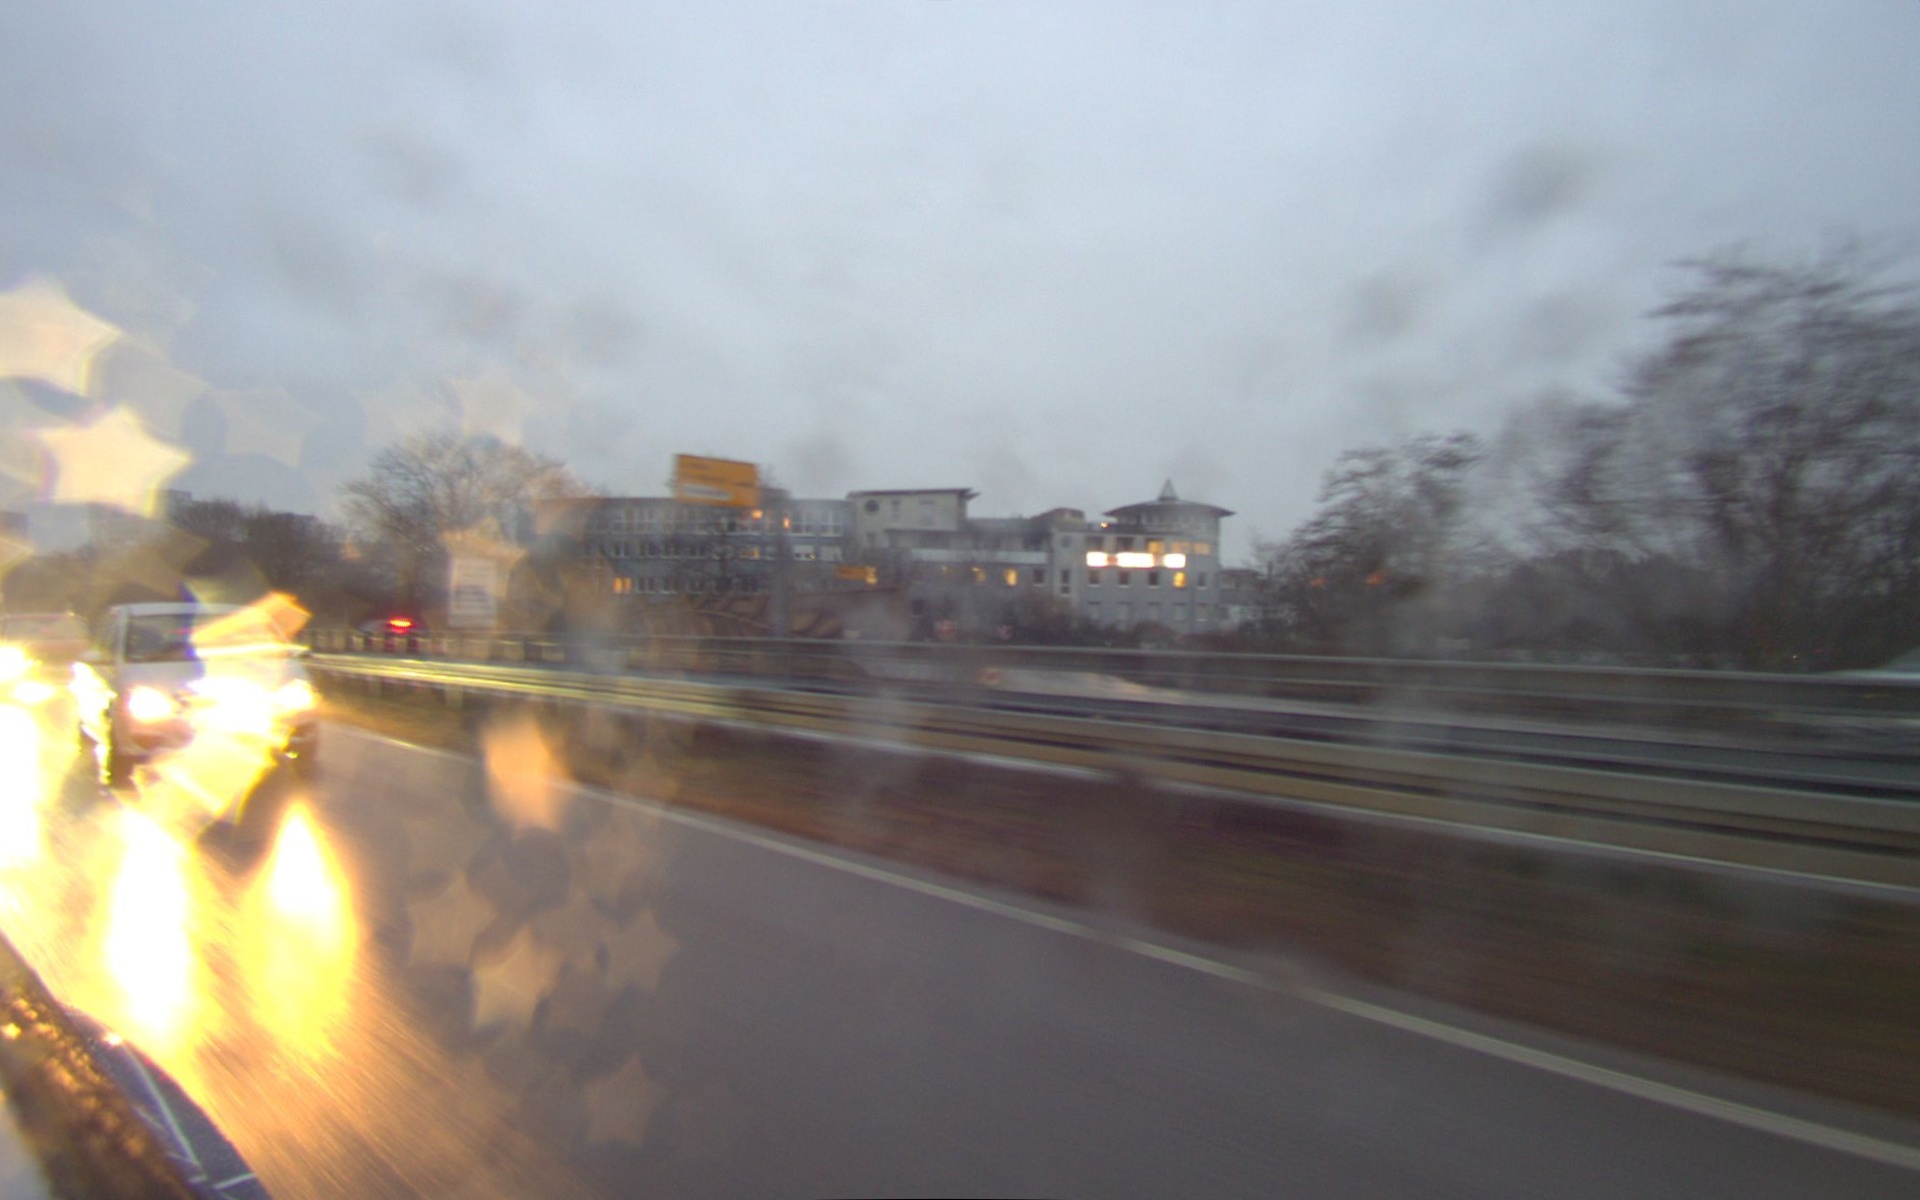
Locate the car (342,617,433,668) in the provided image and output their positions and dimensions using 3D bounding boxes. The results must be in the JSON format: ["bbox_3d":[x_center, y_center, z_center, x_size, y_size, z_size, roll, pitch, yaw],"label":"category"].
[{"bbox_3d":[-23.559,1.703,41.576,4.285,1.933,1.972,-1,-1,42],"label":"car"}]

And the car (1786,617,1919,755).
[{"bbox_3d":[12.554,0.986,11.407,1.815,1.574,4.694,-1,-1,-35],"label":"car"}]

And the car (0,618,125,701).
[{"bbox_3d":[-18.892,1.149,20.872,4.145,1.542,2.000,-1,-1,42],"label":"car"}]

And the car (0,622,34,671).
[{"bbox_3d":[-28.476,1.338,29.545,3.997,1.344,1.675,-1,0,41],"label":"car"}]

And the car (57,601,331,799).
[{"bbox_3d":[-7.986,0.855,10.394,1.741,1.611,4.168,1,-2,-44],"label":"car"}]
